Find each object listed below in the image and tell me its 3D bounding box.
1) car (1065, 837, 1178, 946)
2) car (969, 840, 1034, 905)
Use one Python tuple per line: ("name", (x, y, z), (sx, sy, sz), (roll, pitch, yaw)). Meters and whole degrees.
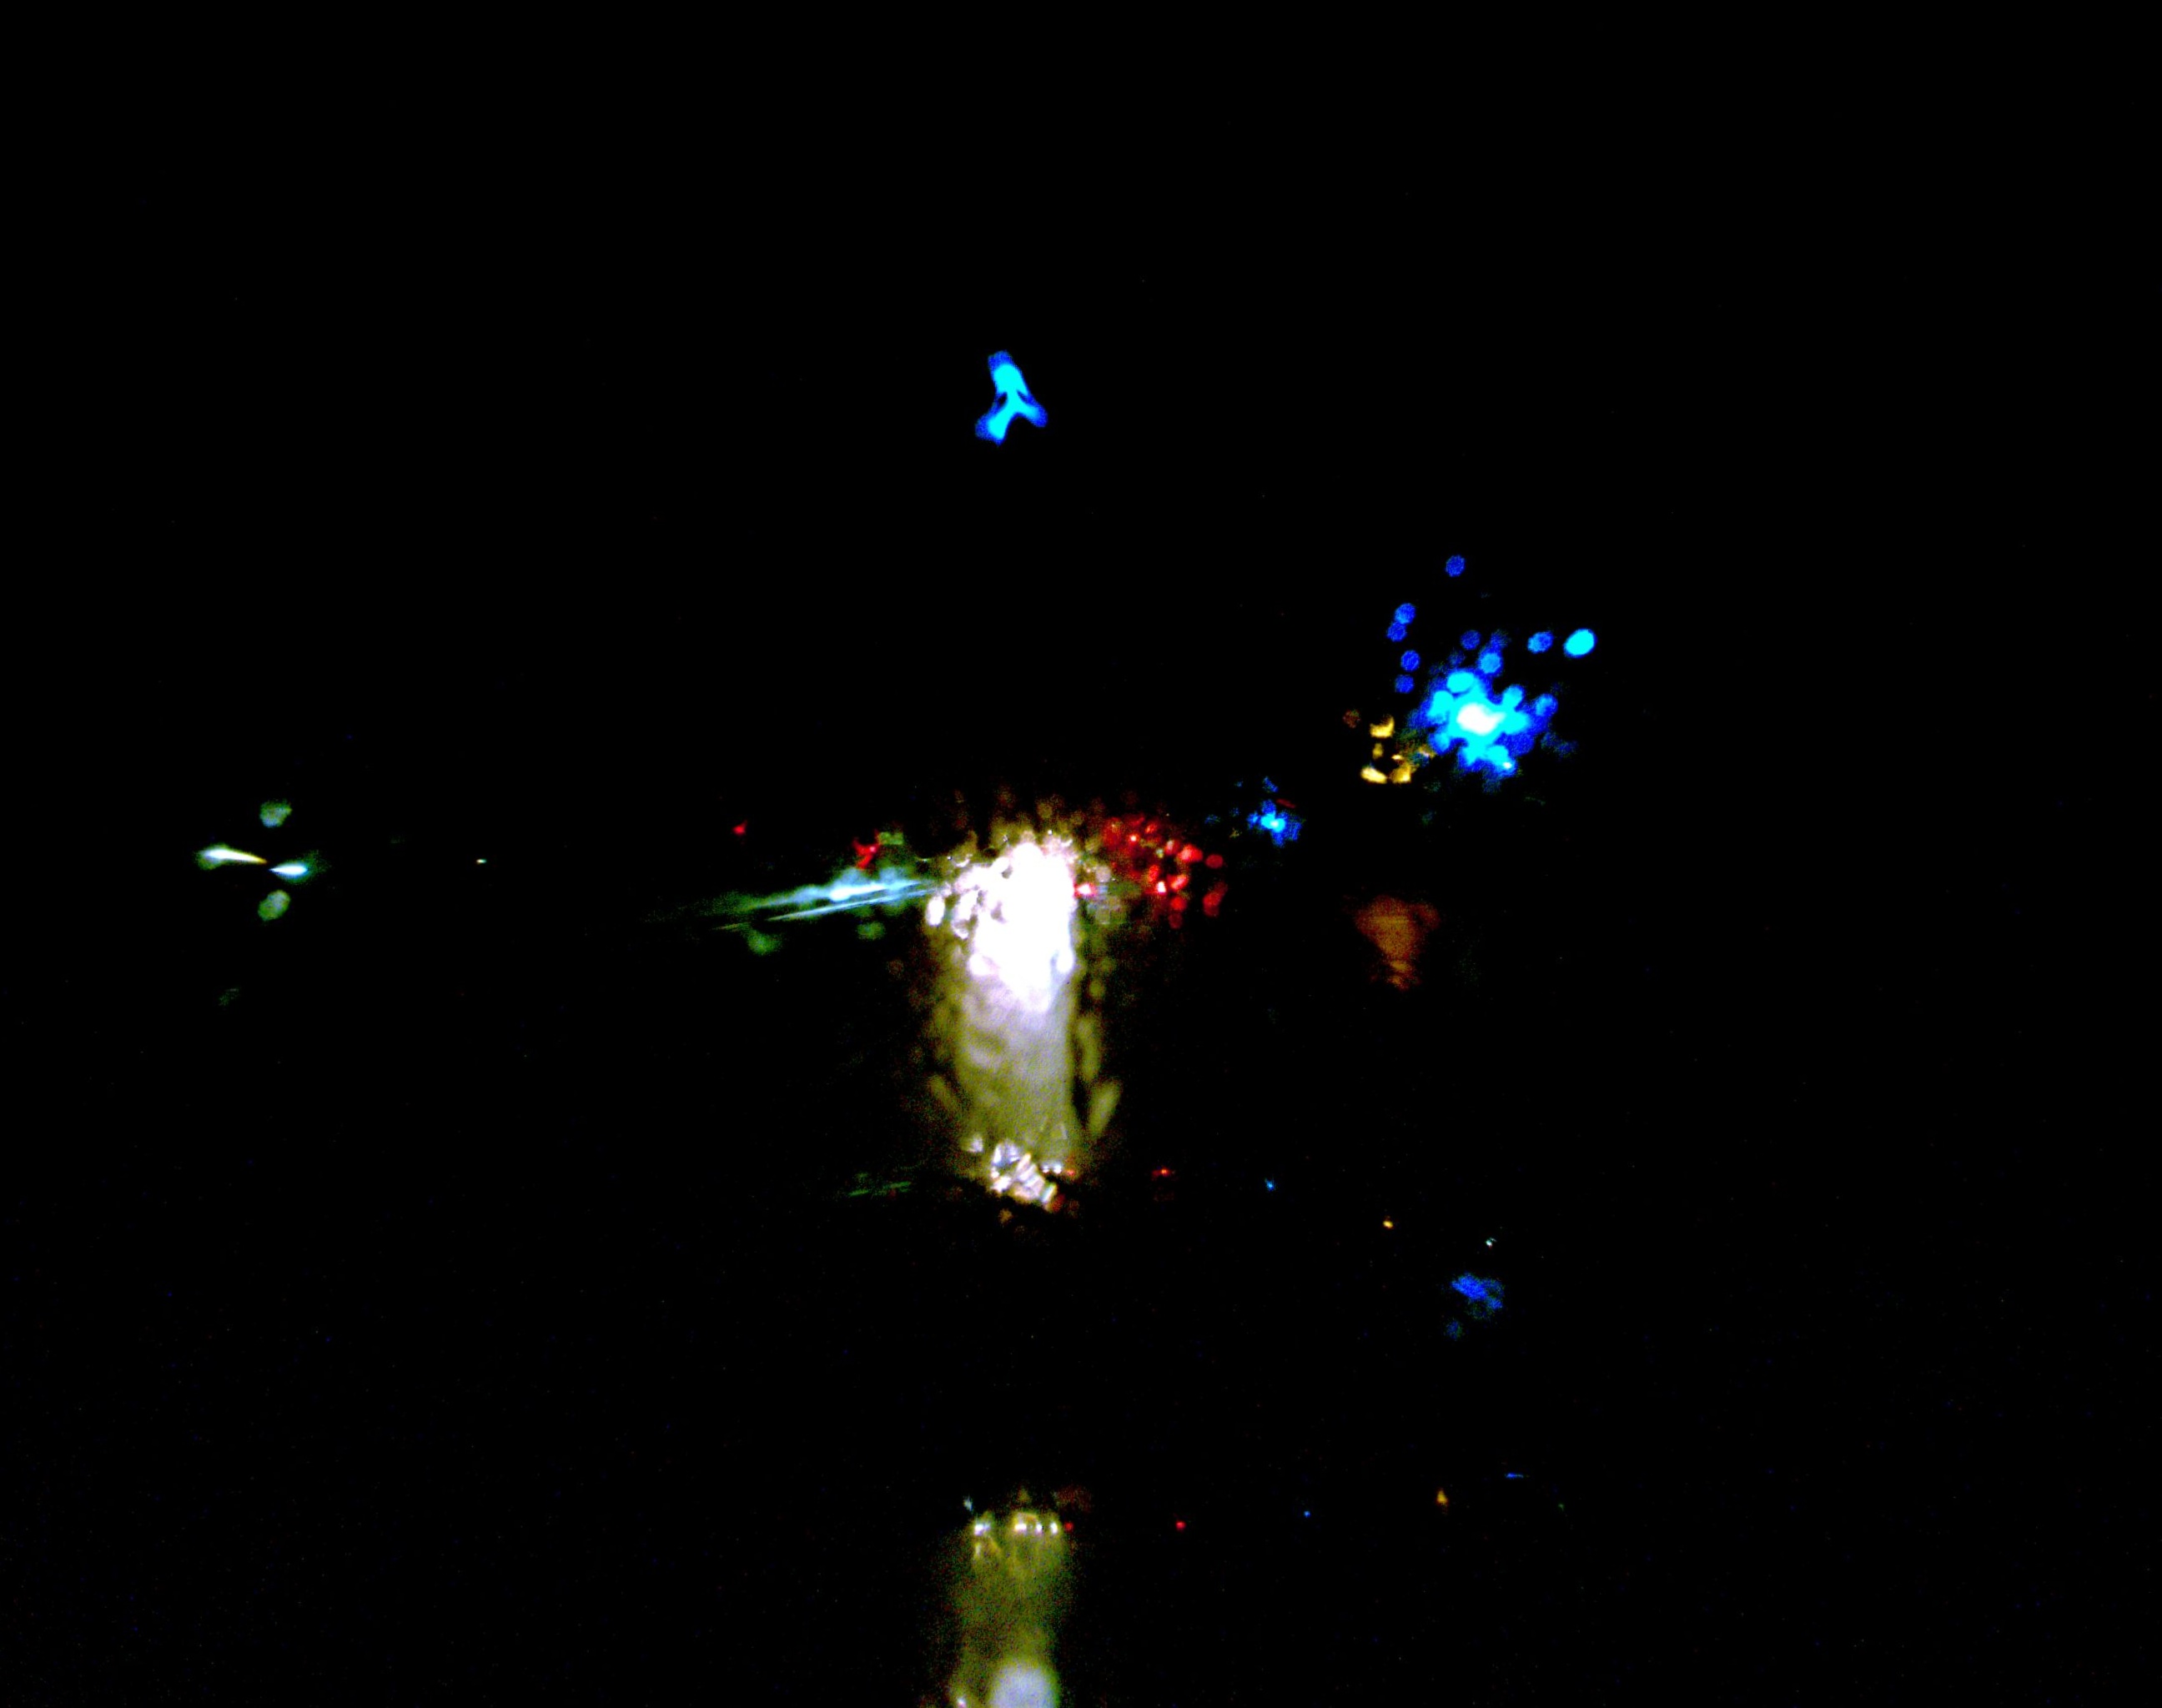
("car", (0.655, 0.603, 15.015), (1.769, 1.712, 4.000), (-1, 0, 0))
("car", (-2.684, 0.679, 28.331), (1.989, 2.014, 3.995), (-2, -2, -3))
